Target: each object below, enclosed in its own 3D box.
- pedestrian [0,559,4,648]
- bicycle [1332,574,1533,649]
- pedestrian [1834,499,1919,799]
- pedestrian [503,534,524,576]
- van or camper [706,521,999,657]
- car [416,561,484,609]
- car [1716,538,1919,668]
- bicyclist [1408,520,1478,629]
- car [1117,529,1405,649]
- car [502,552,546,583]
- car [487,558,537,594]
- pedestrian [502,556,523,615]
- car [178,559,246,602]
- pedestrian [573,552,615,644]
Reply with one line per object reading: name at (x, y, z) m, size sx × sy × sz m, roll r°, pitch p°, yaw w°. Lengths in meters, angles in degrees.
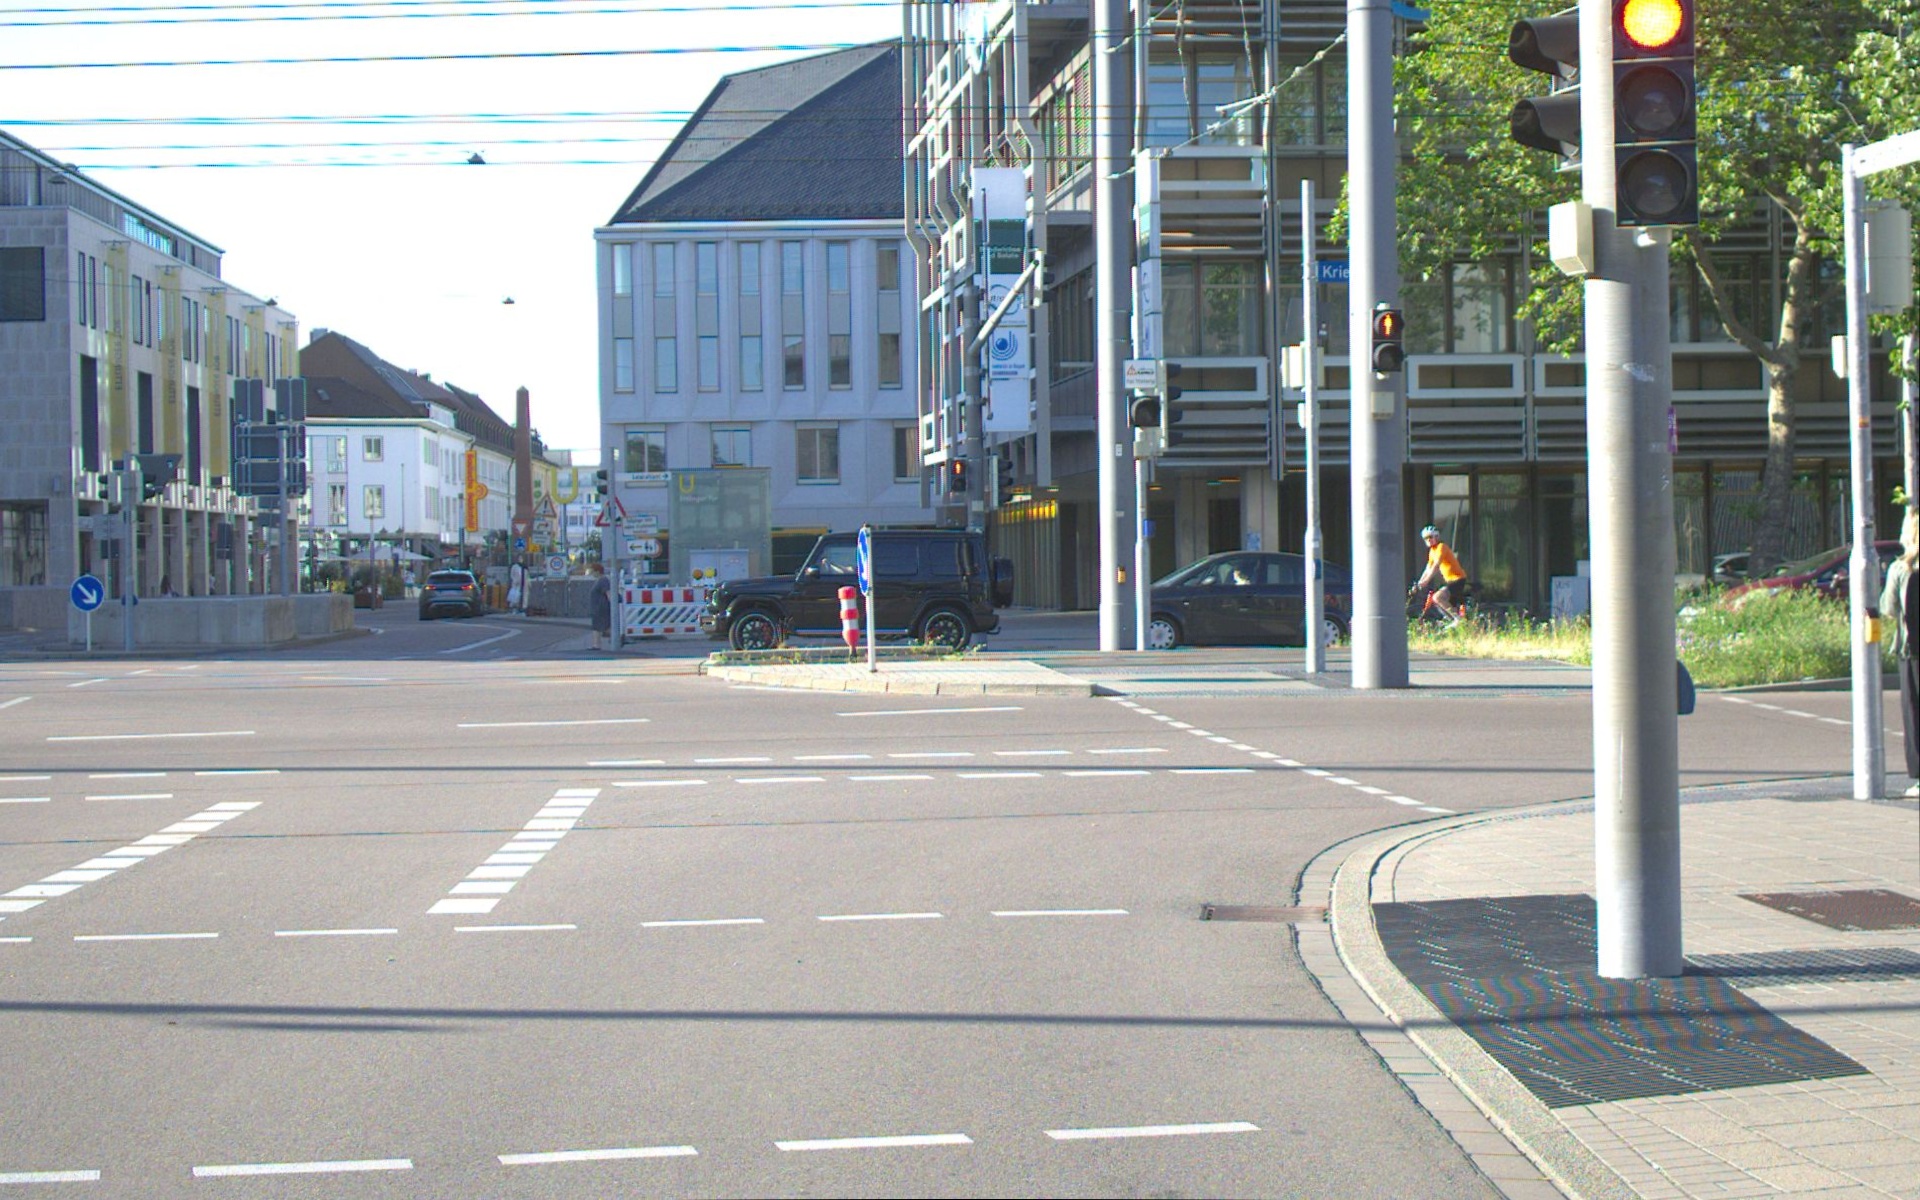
pedestrian at (-18.032, 0.061, 63.320) m, size 0.776 × 1.632 × 0.626 m, roll -1°, pitch 1°, yaw -17°
bicycle at (6.458, 0.157, 47.118) m, size 2.568 × 0.972 × 1.047 m, roll -1°, pitch 1°, yaw -3°
pedestrian at (5.326, 0.254, 18.938) m, size 0.765 × 1.608 × 0.874 m, roll -1°, pitch 1°, yaw -2°
pedestrian at (-21.391, -2.154, 164.687) m, size 0.910 × 1.958 × 0.823 m, roll 1°, pitch 0°, yaw -1°
van or camper at (-1.702, -0.184, 53.232) m, size 4.414 × 2.007 × 1.995 m, roll -1°, pitch 1°, yaw -5°
car at (-16.015, -0.478, 108.080) m, size 1.658 × 1.453 × 3.542 m, roll -1°, pitch 1°, yaw -1°
car at (12.616, 0.003, 46.460) m, size 4.287 × 1.678 × 1.826 m, roll -1°, pitch 1°, yaw -11°
bicyclist at (6.616, -0.351, 47.128) m, size 0.822 × 1.469 × 0.652 m, roll -1°, pitch 1°, yaw -4°
car at (4.350, -0.174, 50.058) m, size 3.986 × 1.678 × 1.761 m, roll -1°, pitch 1°, yaw -1°
car at (-21.052, -1.590, 166.101) m, size 1.658 × 1.453 × 3.542 m, roll -1°, pitch 1°, yaw -1°
car at (-19.008, -1.029, 145.906) m, size 1.658 × 1.453 × 3.542 m, roll -1°, pitch 1°, yaw -1°
pedestrian at (-12.617, -0.406, 96.911) m, size 0.489 × 1.658 × 0.532 m, roll 1°, pitch 0°, yaw -14°
car at (-26.555, -0.694, 122.092) m, size 1.658 × 1.453 × 3.542 m, roll -1°, pitch 1°, yaw -1°
pedestrian at (-6.821, -0.042, 64.051) m, size 0.700 × 1.682 × 0.619 m, roll -1°, pitch 1°, yaw 0°
